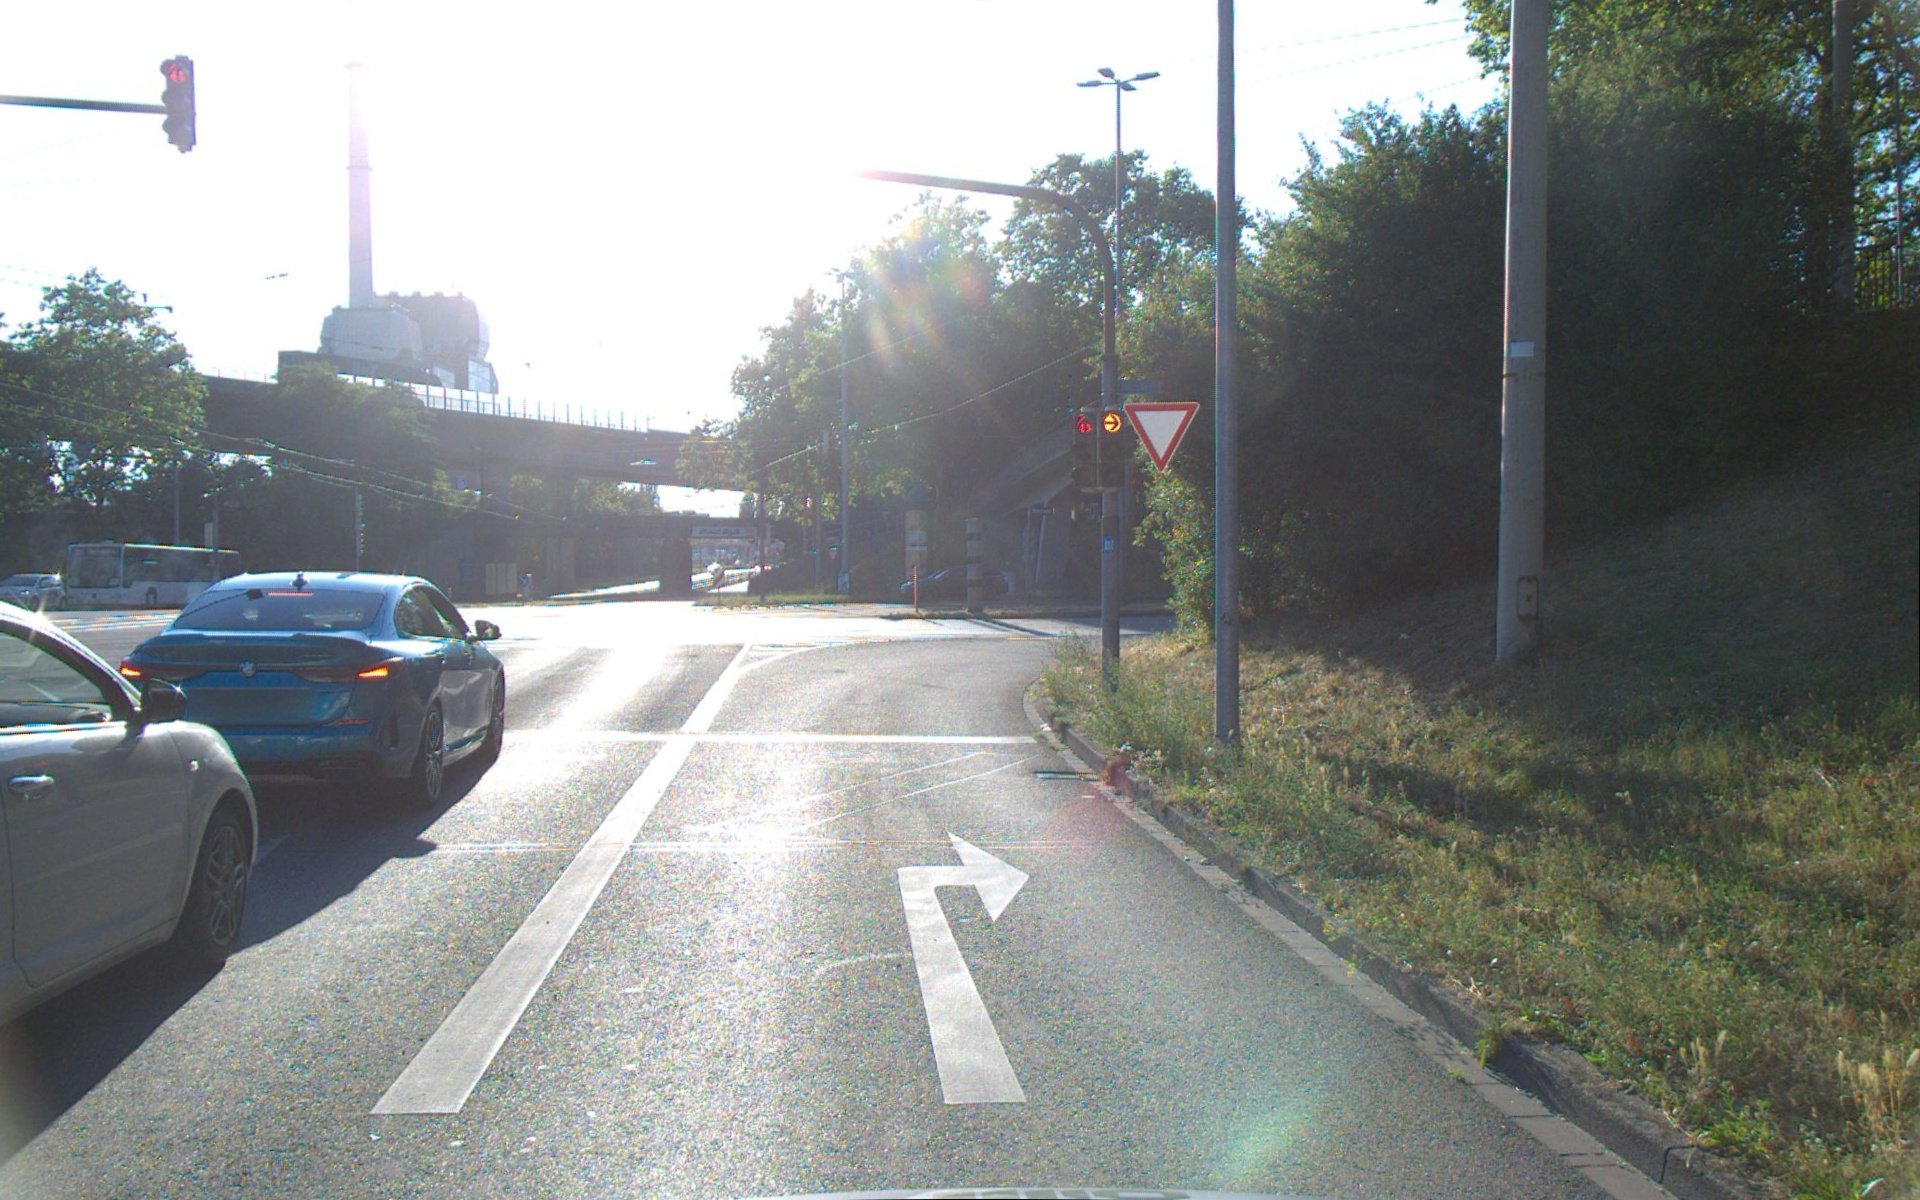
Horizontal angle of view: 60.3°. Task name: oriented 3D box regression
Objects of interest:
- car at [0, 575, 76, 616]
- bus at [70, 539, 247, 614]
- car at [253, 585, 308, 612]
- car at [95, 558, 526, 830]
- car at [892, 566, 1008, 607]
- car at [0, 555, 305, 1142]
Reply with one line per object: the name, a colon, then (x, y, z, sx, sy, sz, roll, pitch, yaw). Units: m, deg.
car: (-36.804, -0.197, 65.700, 1.576, 1.538, 4.002, 0, 1, -7)
bus: (-37.386, -0.973, 77.846, 2.492, 3.185, 12.911, -1, 0, -2)
car: (-38.094, -0.100, 92.782, 1.574, 1.443, 4.006, 1, 1, -3)
car: (-4.167, 0.474, 11.341, 1.681, 1.491, 4.202, -1, 1, -6)
car: (-0.401, -0.555, 68.129, 4.512, 1.602, 1.682, 0, 1, -22)
car: (-3.436, 0.642, 4.957, 1.703, 1.531, 3.995, -1, 1, -6)
